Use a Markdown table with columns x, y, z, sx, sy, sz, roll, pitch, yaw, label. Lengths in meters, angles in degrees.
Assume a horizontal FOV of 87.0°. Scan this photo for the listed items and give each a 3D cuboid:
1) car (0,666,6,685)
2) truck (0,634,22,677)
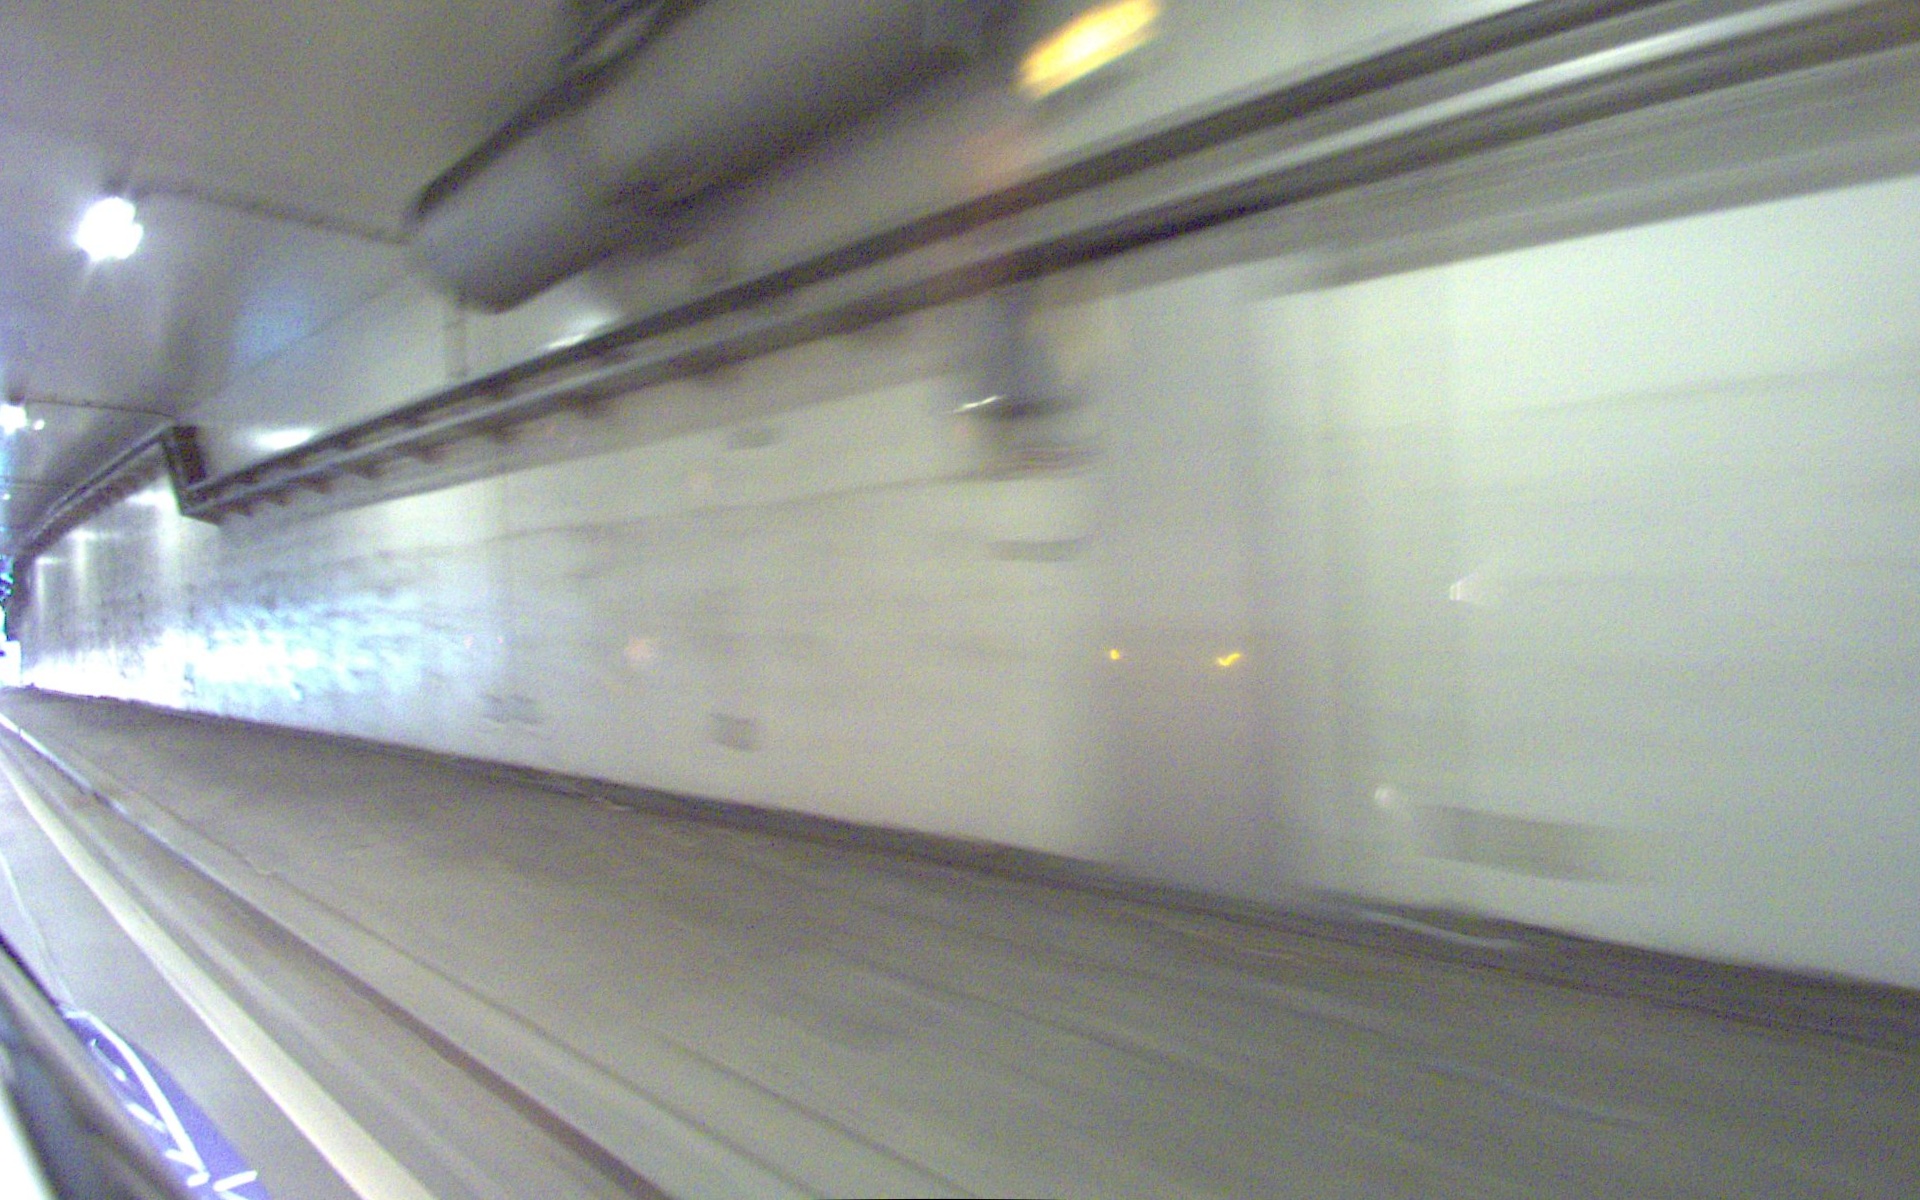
| x | y | z | sx | sy | sz | roll | pitch | yaw | label |
| --- | --- | --- | --- | --- | --- | --- | --- | --- | --- |
| -87.647 | 6.928 | 91.139 | 1.920 | 1.545 | 4.010 | -4 | 3 | -35 | car |
| -110.776 | 6.400 | 116.708 | 2.844 | 4.505 | 10.473 | -4 | 2 | -39 | truck |
